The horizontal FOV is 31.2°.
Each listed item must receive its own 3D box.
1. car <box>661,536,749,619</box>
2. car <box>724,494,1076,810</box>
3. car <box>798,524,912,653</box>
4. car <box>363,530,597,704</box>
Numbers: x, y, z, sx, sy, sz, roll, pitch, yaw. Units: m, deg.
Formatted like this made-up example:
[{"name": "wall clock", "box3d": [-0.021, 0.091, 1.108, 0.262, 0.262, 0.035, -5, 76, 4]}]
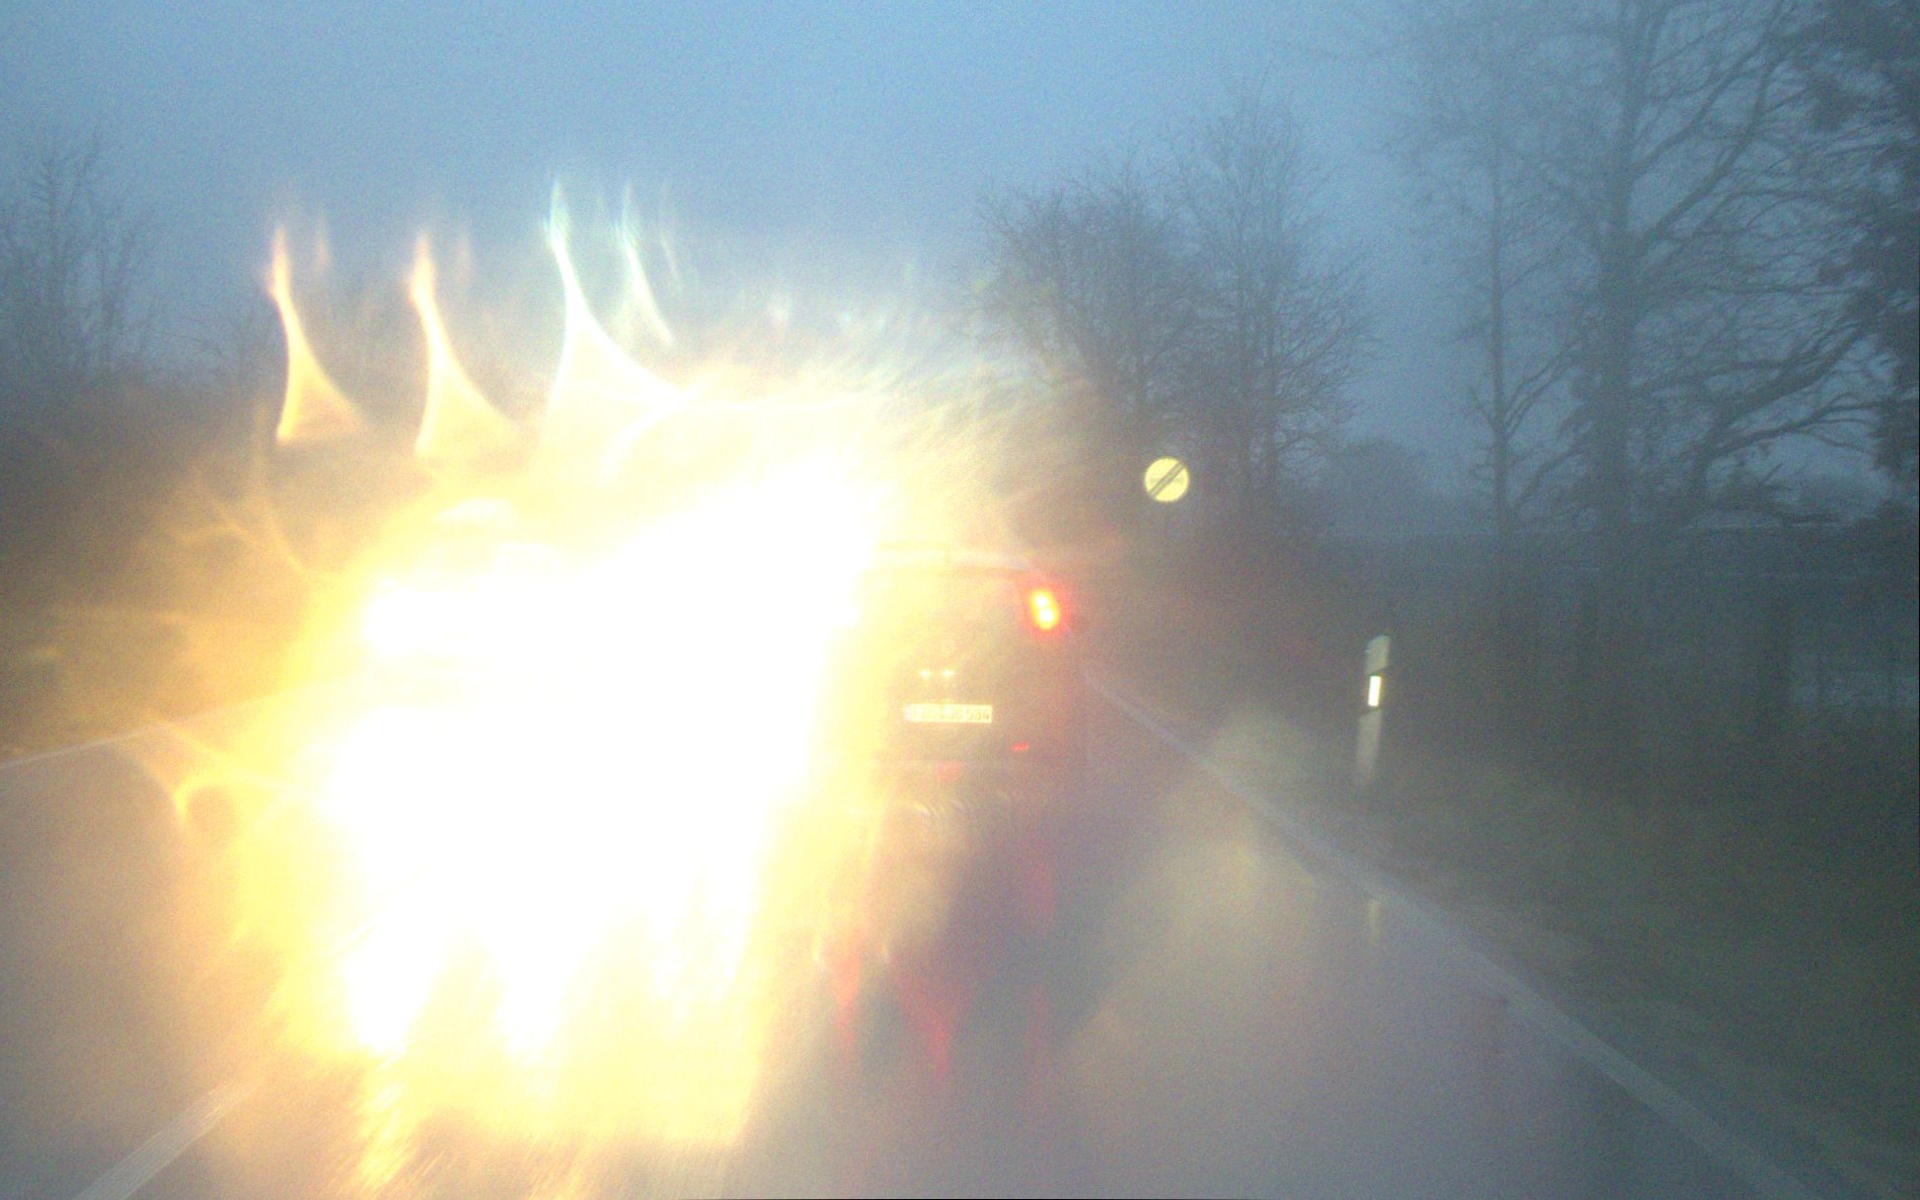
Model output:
[{"name": "car", "box3d": [-5.285, -0.485, 71.069, 1.752, 1.641, 4.050, 1, 1, -4]}, {"name": "car", "box3d": [-0.339, 0.270, 21.823, 1.993, 1.778, 4.000, 1, 1, 0]}, {"name": "car", "box3d": [-1.579, -0.200, 52.552, 1.574, 1.868, 3.709, 1, 1, 0]}, {"name": "car", "box3d": [-4.514, 0.122, 32.817, 1.691, 1.525, 4.086, 1, 1, -1]}]
